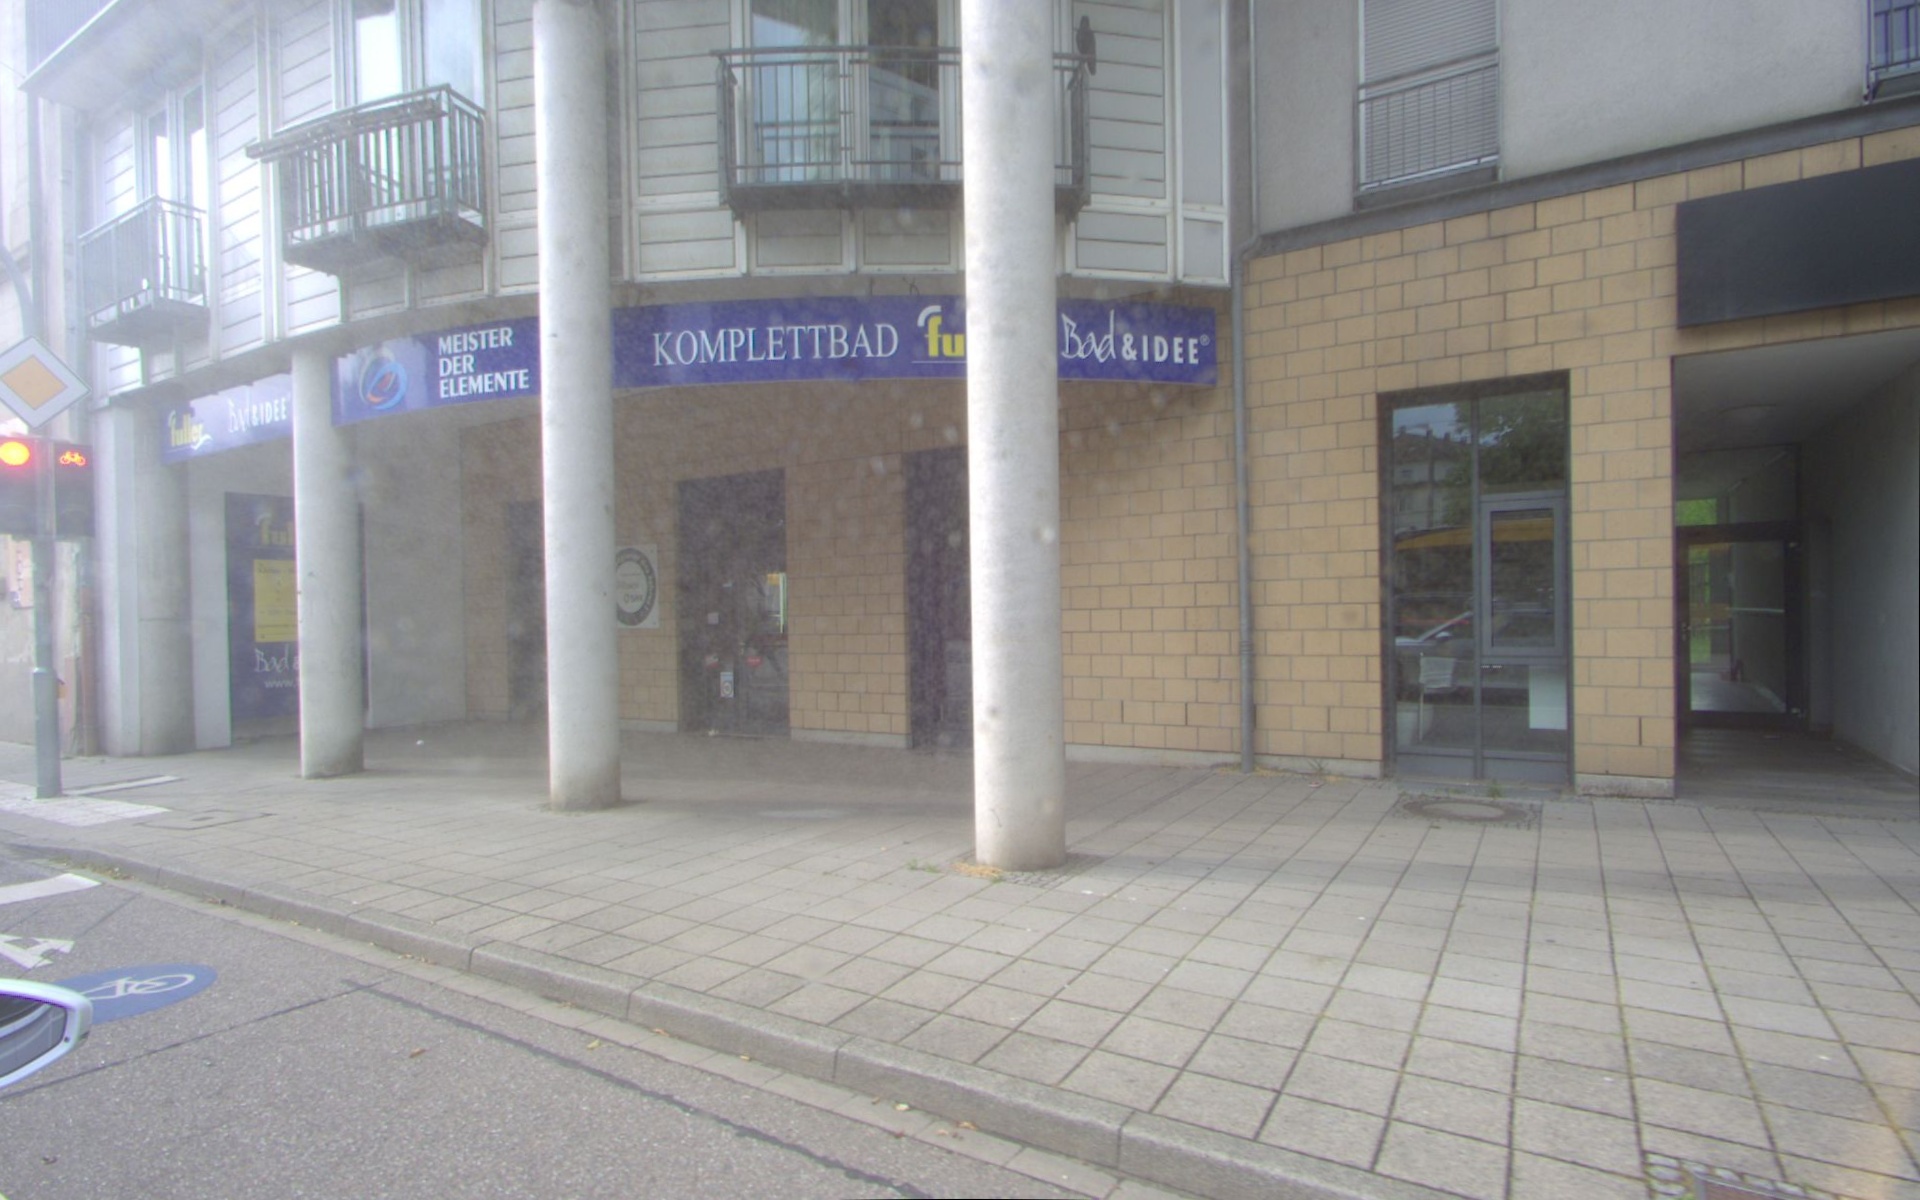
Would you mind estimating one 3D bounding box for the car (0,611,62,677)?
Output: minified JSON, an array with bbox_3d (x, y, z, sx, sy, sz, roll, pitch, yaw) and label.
[{"bbox_3d":[-30.426,1.333,30.198,1.950,1.991,4.881,0,-2,7],"label":"car"}]
